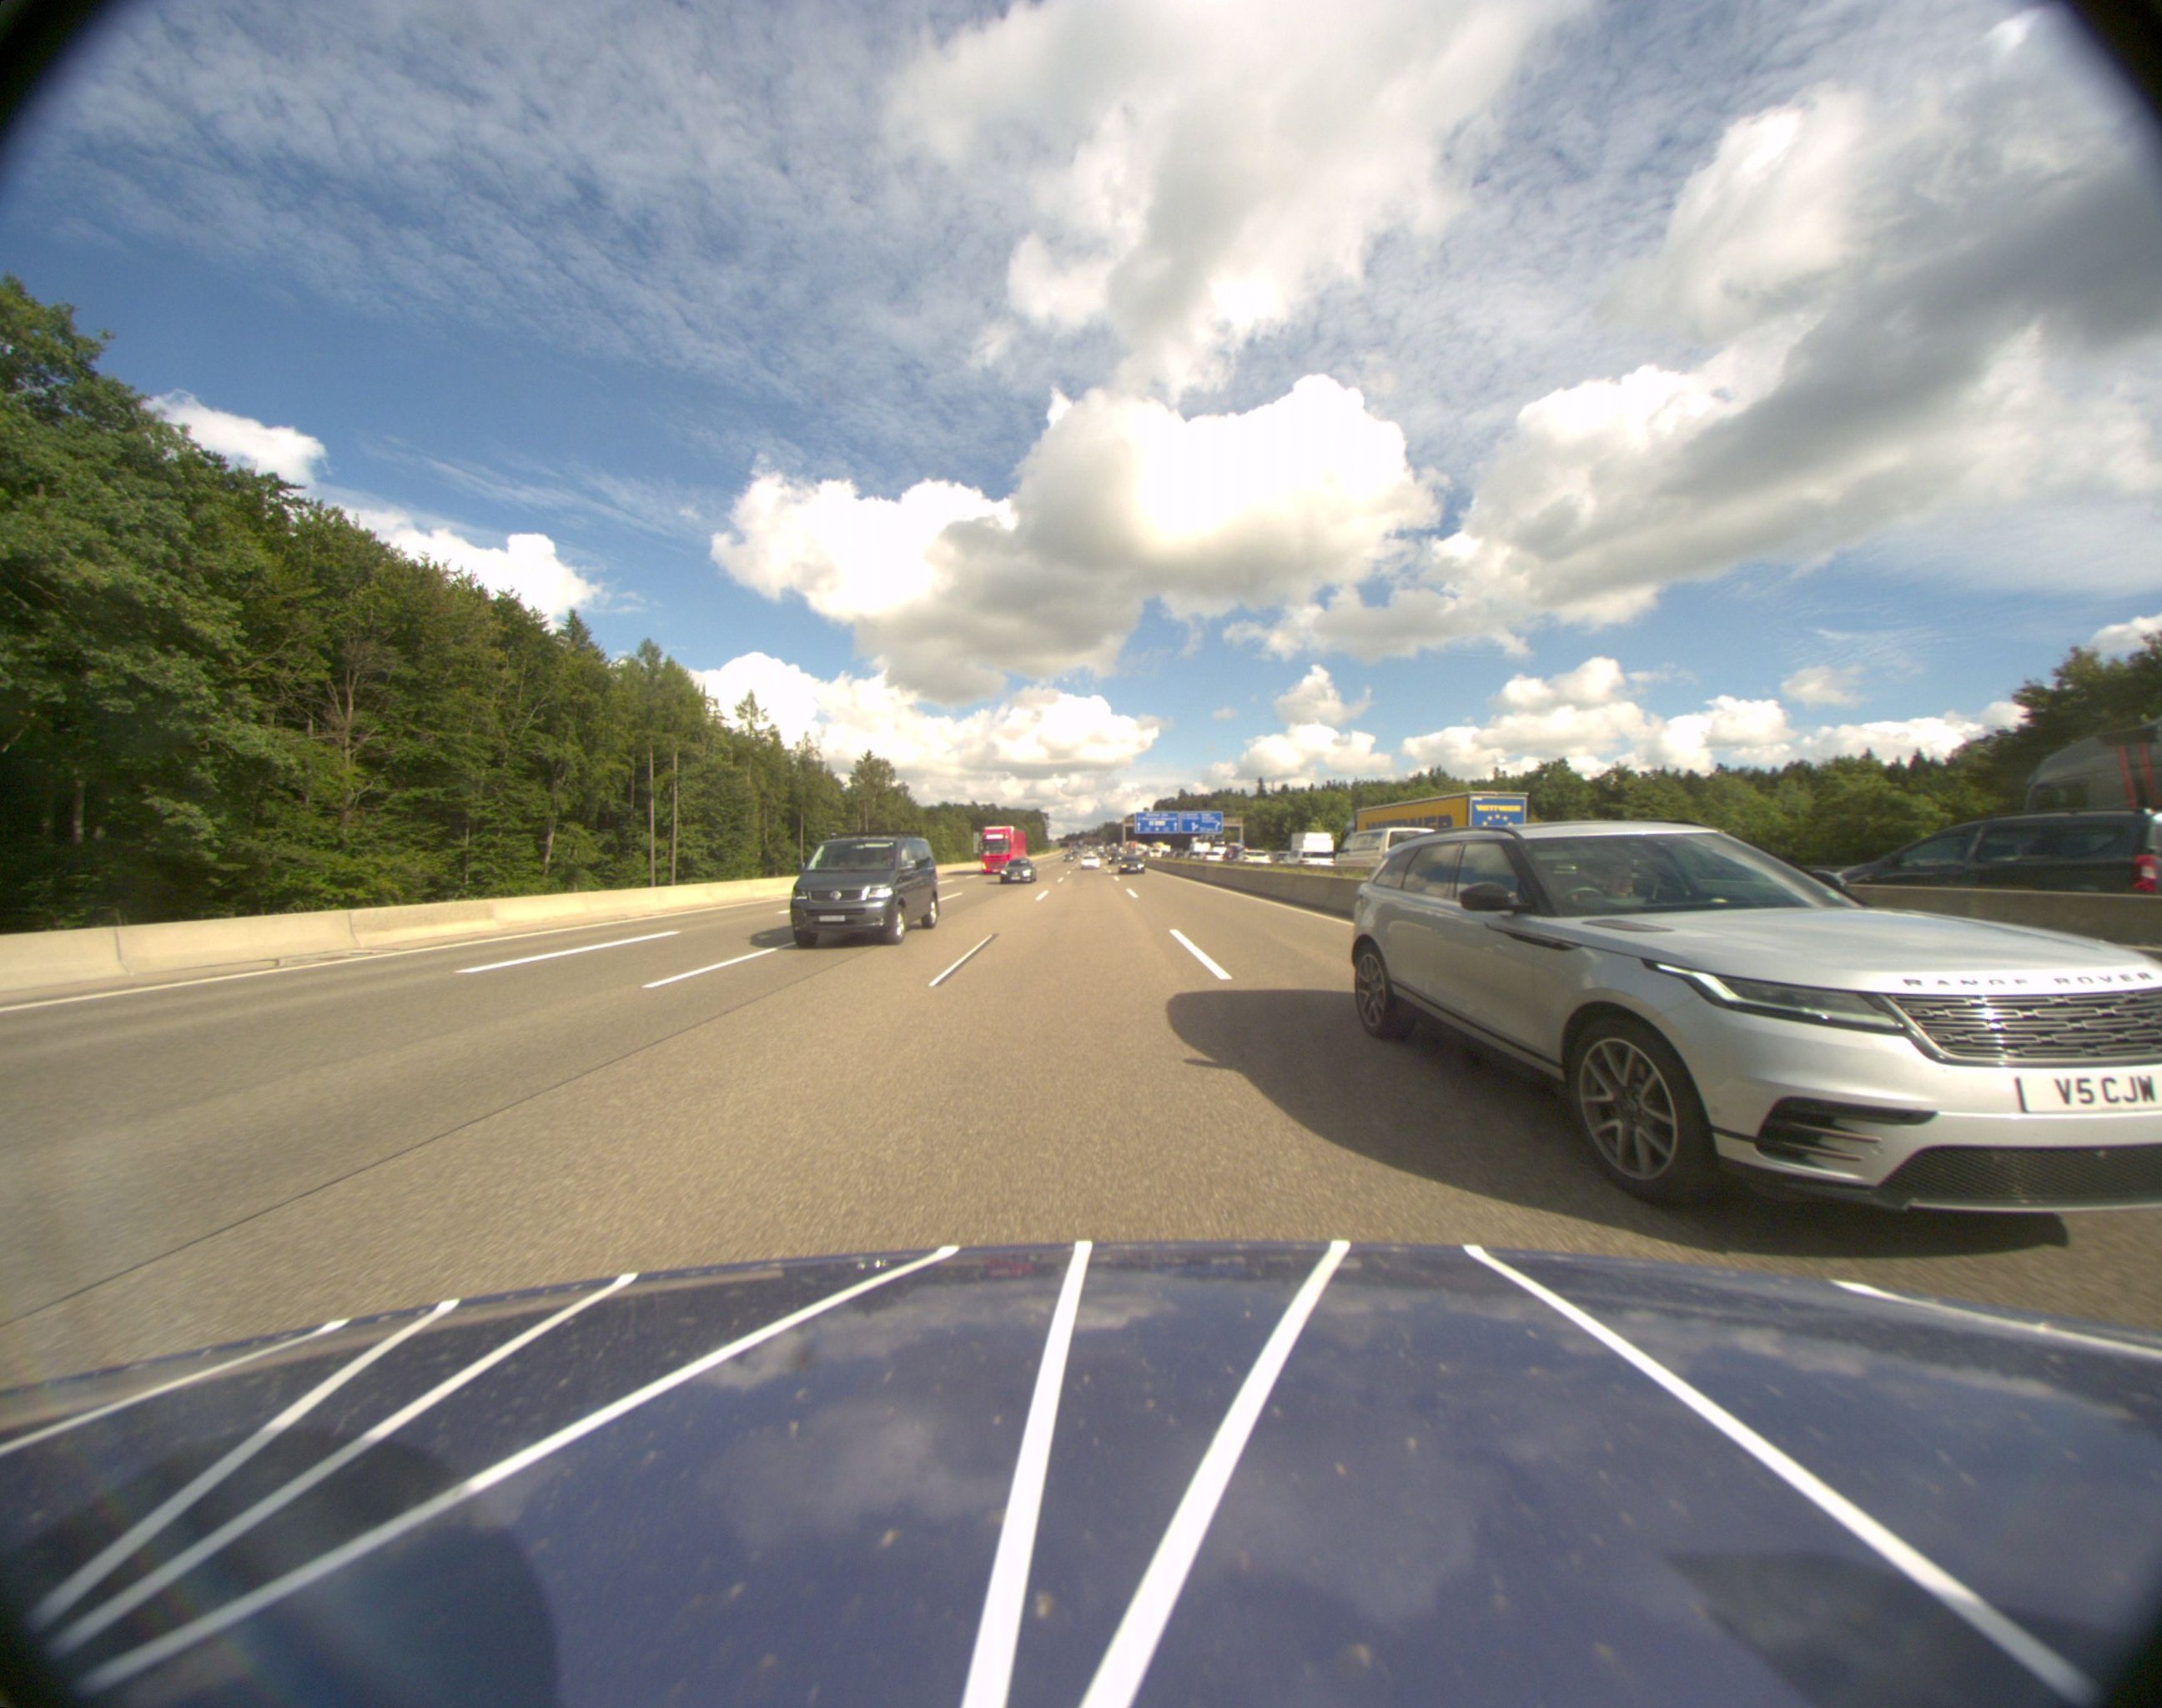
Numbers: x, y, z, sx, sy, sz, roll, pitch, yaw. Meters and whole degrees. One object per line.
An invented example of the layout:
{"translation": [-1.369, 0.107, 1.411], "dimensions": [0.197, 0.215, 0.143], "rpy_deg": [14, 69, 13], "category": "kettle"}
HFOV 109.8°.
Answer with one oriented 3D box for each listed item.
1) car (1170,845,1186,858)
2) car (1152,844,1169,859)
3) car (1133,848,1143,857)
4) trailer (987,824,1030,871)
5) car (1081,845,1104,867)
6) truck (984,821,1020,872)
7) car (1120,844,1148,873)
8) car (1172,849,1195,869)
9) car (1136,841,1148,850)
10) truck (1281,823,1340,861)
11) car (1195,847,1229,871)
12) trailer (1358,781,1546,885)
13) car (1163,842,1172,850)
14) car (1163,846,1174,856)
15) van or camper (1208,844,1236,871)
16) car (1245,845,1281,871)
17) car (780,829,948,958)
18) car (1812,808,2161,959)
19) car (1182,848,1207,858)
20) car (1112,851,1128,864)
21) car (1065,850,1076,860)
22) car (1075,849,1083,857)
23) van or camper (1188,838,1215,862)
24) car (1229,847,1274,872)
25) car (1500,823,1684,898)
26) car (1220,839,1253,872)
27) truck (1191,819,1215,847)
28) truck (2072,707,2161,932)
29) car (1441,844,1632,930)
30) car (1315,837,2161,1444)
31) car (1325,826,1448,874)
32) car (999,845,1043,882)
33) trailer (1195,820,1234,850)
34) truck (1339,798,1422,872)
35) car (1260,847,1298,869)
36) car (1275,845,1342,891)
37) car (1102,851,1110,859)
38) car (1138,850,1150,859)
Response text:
{"translation": [15.149, -0.406, 118.983], "dimensions": [1.916, 1.865, 4.696], "rpy_deg": [-1, 1, 1], "category": "car"}
{"translation": [11.871, -0.415, 114.030], "dimensions": [1.998, 2.088, 5.277], "rpy_deg": [-2, 2, 1], "category": "car"}
{"translation": [12.139, -0.296, 161.384], "dimensions": [1.804, 1.865, 3.950], "rpy_deg": [-2, 1, 1], "category": "car"}
{"translation": [-6.790, -0.709, 73.278], "dimensions": [2.531, 4.096, 14.374], "rpy_deg": [-2, 1, 1], "category": "trailer"}
{"translation": [1.136, 0.212, 73.701], "dimensions": [1.998, 2.002, 4.000], "rpy_deg": [-3, 0, 2], "category": "car"}
{"translation": [-6.839, -0.666, 66.460], "dimensions": [2.532, 4.179, 4.652], "rpy_deg": [-2, 1, 1], "category": "truck"}
{"translation": [3.902, 0.285, 56.400], "dimensions": [1.919, 2.002, 4.000], "rpy_deg": [-2, 1, 2], "category": "car"}
{"translation": [11.104, 0.486, 82.850], "dimensions": [1.998, 2.002, 4.408], "rpy_deg": [-1, 2, 1], "category": "car"}
{"translation": [11.764, -1.665, 146.499], "dimensions": [2.091, 1.791, 4.178], "rpy_deg": [-1, 1, 1], "category": "car"}
{"translation": [18.565, -0.972, 61.988], "dimensions": [2.334, 2.785, 7.948], "rpy_deg": [-3, 0, 1], "category": "truck"}
{"translation": [10.623, 0.379, 61.721], "dimensions": [1.998, 1.733, 4.295], "rpy_deg": [-3, 0, 1], "category": "car"}
{"translation": [17.972, -1.054, 38.471], "dimensions": [2.778, 4.211, 13.655], "rpy_deg": [-2, 2, 0], "category": "trailer"}
{"translation": [20.621, -1.847, 181.218], "dimensions": [1.804, 1.865, 3.950], "rpy_deg": [-1, 1, 1], "category": "car"}
{"translation": [16.844, -0.574, 146.113], "dimensions": [1.804, 1.865, 3.950], "rpy_deg": [-1, 1, 1], "category": "car"}
{"translation": [15.325, 0.338, 82.893], "dimensions": [2.050, 2.696, 5.749], "rpy_deg": [-2, 2, 1], "category": "van or camper"}
{"translation": [13.841, 0.250, 58.019], "dimensions": [1.691, 1.806, 4.294], "rpy_deg": [-2, 2, 0], "category": "car"}
{"translation": [-4.114, 0.655, 15.361], "dimensions": [1.927, 2.153, 4.960], "rpy_deg": [-1, 1, 0], "category": "car"}
{"translation": [13.481, 0.310, 10.762], "dimensions": [1.750, 1.756, 4.613], "rpy_deg": [-3, 0, 0], "category": "car"}
{"translation": [10.646, -0.103, 71.678], "dimensions": [1.639, 0.853, 4.605], "rpy_deg": [-3, 0, 1], "category": "car"}
{"translation": [5.054, 0.428, 99.700], "dimensions": [1.911, 1.582, 4.287], "rpy_deg": [-2, 2, 1], "category": "car"}
{"translation": [-1.869, 0.132, 140.498], "dimensions": [1.911, 1.582, 4.286], "rpy_deg": [-2, 2, -2], "category": "car"}
{"translation": [-0.426, -0.351, 186.056], "dimensions": [1.804, 1.865, 3.950], "rpy_deg": [-1, 1, 1], "category": "car"}
{"translation": [15.056, -0.543, 95.244], "dimensions": [2.397, 2.696, 6.630], "rpy_deg": [-2, 2, 2], "category": "van or camper"}
{"translation": [10.256, 0.305, 45.842], "dimensions": [1.761, 1.369, 4.000], "rpy_deg": [-3, 0, 0], "category": "car"}
{"translation": [13.782, 0.158, 20.909], "dimensions": [1.750, 1.756, 4.842], "rpy_deg": [-3, 0, 0], "category": "car"}
{"translation": [14.983, 0.091, 73.354], "dimensions": [1.998, 2.946, 5.402], "rpy_deg": [-3, 1, 1], "category": "car"}
{"translation": [19.059, -3.235, 118.895], "dimensions": [2.860, 4.210, 5.712], "rpy_deg": [-2, 1, 1], "category": "truck"}
{"translation": [21.311, -0.651, 12.539], "dimensions": [2.818, 4.125, 5.452], "rpy_deg": [-1, 0, 0], "category": "truck"}
{"translation": [9.750, 0.624, 16.672], "dimensions": [1.728, 1.594, 3.999], "rpy_deg": [-3, 0, 0], "category": "car"}
{"translation": [3.159, 0.744, 4.637], "dimensions": [1.904, 1.598, 5.104], "rpy_deg": [-2, 2, 1], "category": "car"}
{"translation": [9.917, -0.201, 25.213], "dimensions": [1.854, 1.347, 5.487], "rpy_deg": [-2, 2, 0], "category": "car"}
{"translation": [-3.447, 0.514, 44.447], "dimensions": [1.998, 2.002, 4.000], "rpy_deg": [-3, 0, 2], "category": "car"}
{"translation": [18.982, -2.786, 109.384], "dimensions": [2.837, 3.952, 16.000], "rpy_deg": [-2, 2, 1], "category": "trailer"}
{"translation": [18.014, -1.179, 46.102], "dimensions": [2.743, 4.125, 5.615], "rpy_deg": [-2, 2, 0], "category": "truck"}
{"translation": [14.144, 0.286, 54.505], "dimensions": [1.737, 1.393, 3.835], "rpy_deg": [-2, 2, 1], "category": "car"}
{"translation": [10.202, 0.576, 34.426], "dimensions": [1.691, 1.806, 4.294], "rpy_deg": [-2, 2, 0], "category": "car"}
{"translation": [5.846, 0.159, 176.561], "dimensions": [1.804, 1.783, 3.758], "rpy_deg": [-1, 1, 1], "category": "car"}
{"translation": [10.612, 0.079, 127.654], "dimensions": [1.699, 1.364, 4.000], "rpy_deg": [-2, 0, 2], "category": "car"}
